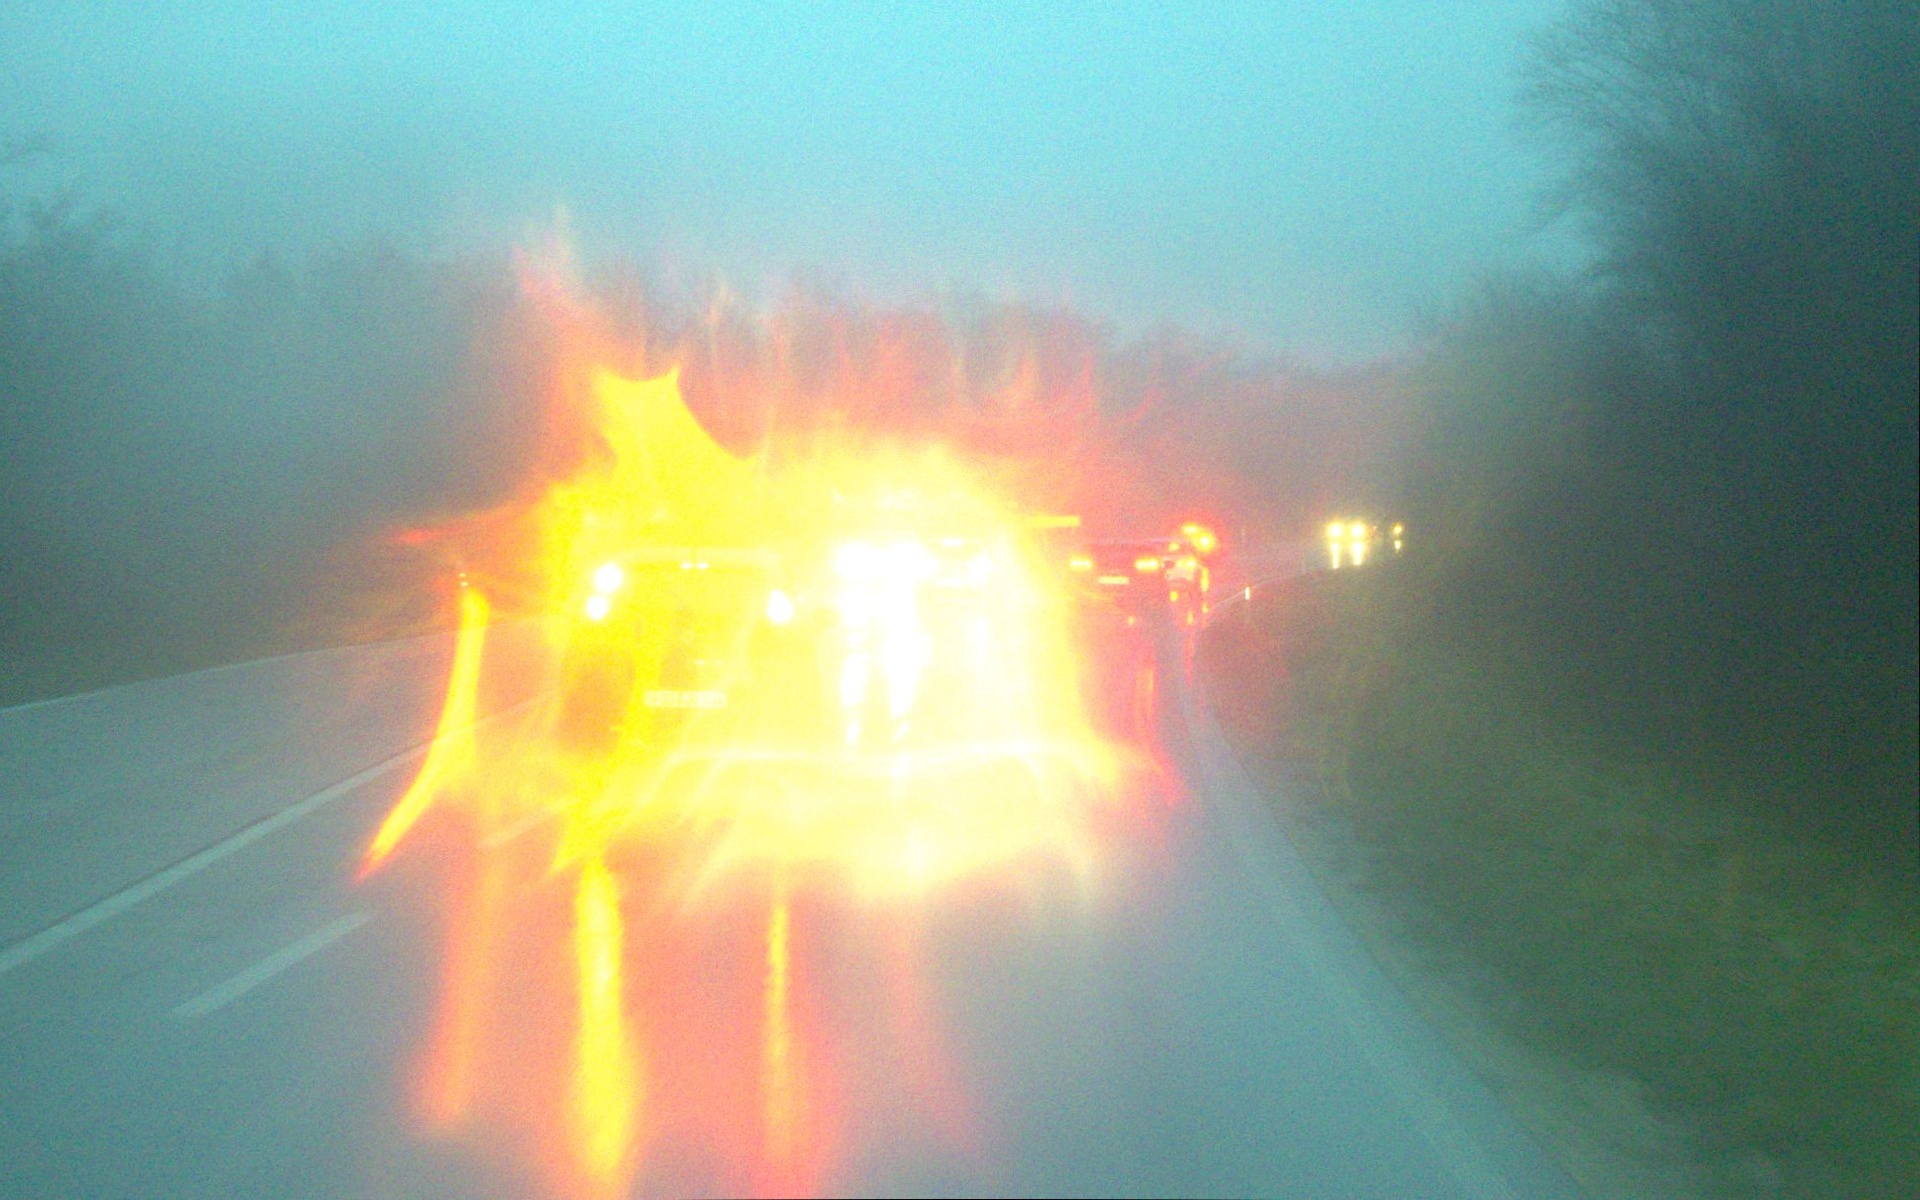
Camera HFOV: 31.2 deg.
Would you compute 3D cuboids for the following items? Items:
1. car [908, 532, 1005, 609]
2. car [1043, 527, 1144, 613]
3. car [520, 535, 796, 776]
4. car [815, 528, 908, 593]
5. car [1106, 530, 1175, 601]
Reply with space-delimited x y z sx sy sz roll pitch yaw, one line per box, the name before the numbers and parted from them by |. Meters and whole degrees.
car | -0.080 -0.669 75.126 2.005 1.550 4.517 2 2 0
car | 2.307 -0.554 59.898 1.679 1.385 4.098 0 2 2
car | -1.998 0.310 23.682 1.632 1.416 4.172 2 1 -2
car | -2.590 -1.053 91.733 1.994 1.643 4.722 1 1 4
car | 4.520 -0.874 85.832 1.679 1.669 4.098 1 2 3
